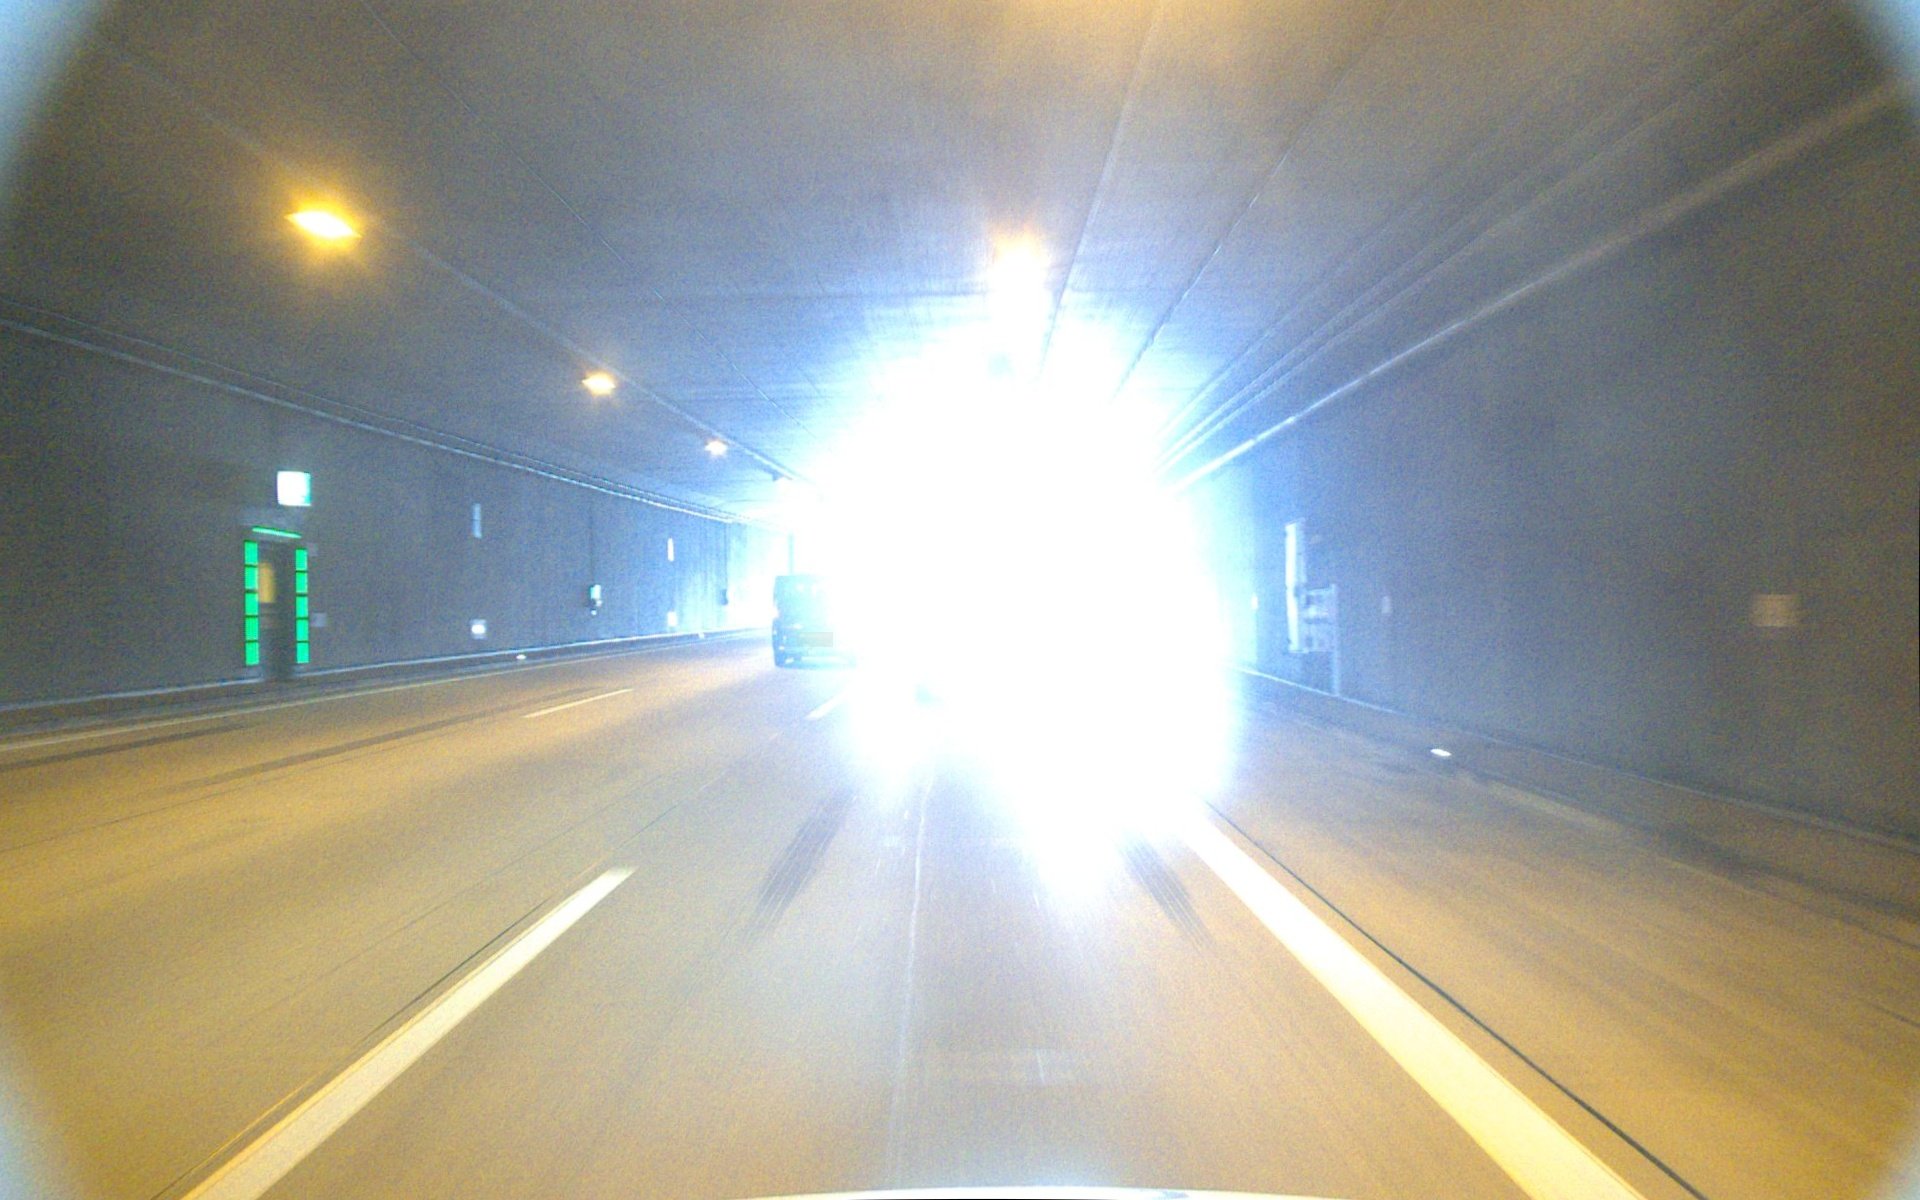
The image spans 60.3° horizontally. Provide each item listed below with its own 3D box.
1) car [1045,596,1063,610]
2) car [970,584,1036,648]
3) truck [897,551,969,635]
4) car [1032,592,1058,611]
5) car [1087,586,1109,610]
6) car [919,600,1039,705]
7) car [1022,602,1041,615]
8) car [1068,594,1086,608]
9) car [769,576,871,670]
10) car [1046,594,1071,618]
[{"bbox_3d":[12.395,0.365,217.260,1.889,1.671,4.003,0,-3,11],"label":"car"},{"bbox_3d":[1.357,0.475,50.975,1.818,1.887,4.002,1,0,4],"label":"car"},{"bbox_3d":[-1.188,-0.288,78.077,2.976,3.737,7.394,1,0,2],"label":"truck"},{"bbox_3d":[8.059,0.170,156.454,1.951,1.660,4.003,0,-2,9],"label":"car"},{"bbox_3d":[12.851,-0.174,153.831,1.951,2.049,4.002,0,-3,7],"label":"car"},{"bbox_3d":[0.305,0.746,25.429,1.706,1.489,3.871,0,0,1],"label":"car"},{"bbox_3d":[8.936,1.053,205.350,1.889,1.671,4.003,1,0,9],"label":"car"},{"bbox_3d":[14.511,0.112,205.116,1.951,1.660,4.003,0,-2,9],"label":"car"},{"bbox_3d":[-3.038,0.483,36.622,1.870,1.978,3.871,0,0,1],"label":"car"},{"bbox_3d":[7.390,0.471,123.917,1.890,1.671,4.001,0,-2,4],"label":"car"}]
